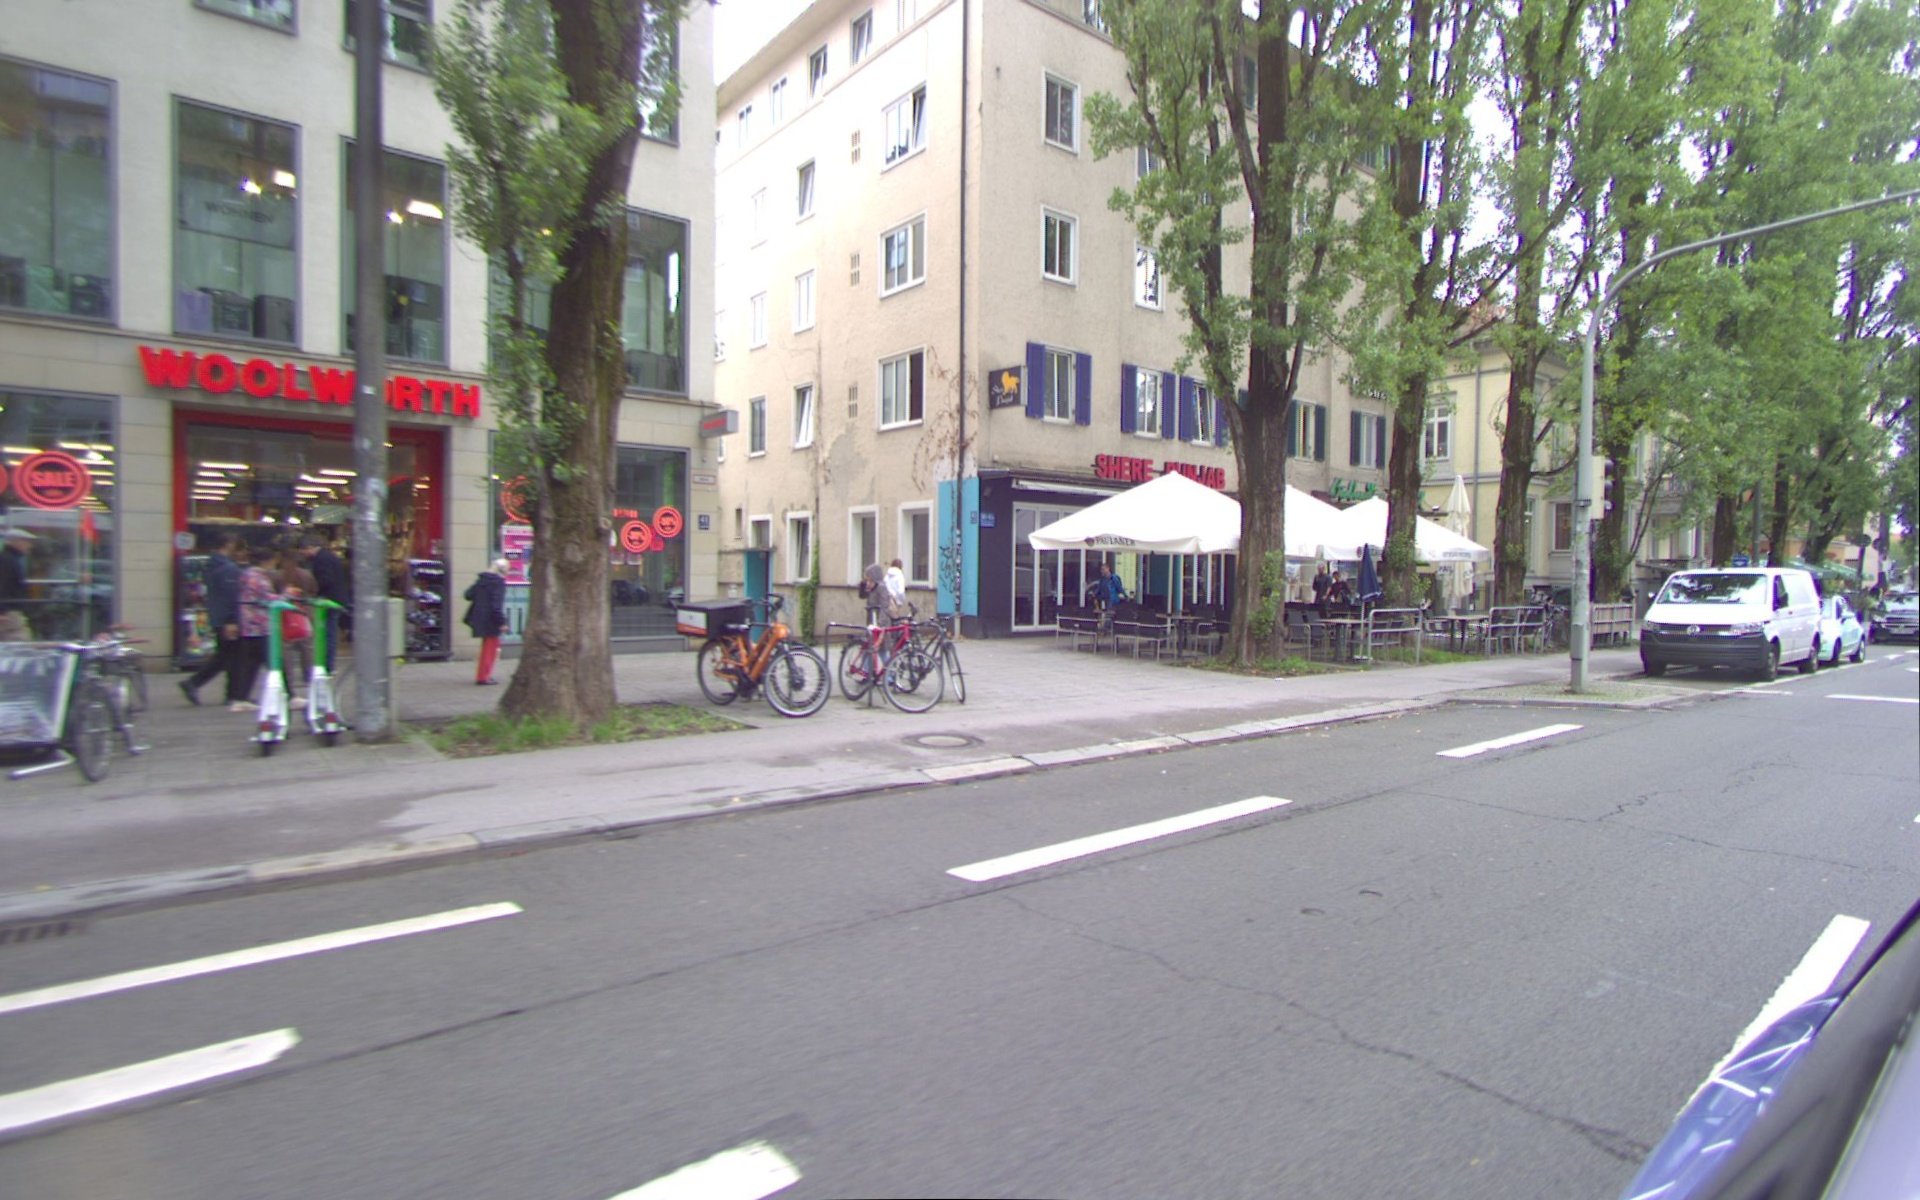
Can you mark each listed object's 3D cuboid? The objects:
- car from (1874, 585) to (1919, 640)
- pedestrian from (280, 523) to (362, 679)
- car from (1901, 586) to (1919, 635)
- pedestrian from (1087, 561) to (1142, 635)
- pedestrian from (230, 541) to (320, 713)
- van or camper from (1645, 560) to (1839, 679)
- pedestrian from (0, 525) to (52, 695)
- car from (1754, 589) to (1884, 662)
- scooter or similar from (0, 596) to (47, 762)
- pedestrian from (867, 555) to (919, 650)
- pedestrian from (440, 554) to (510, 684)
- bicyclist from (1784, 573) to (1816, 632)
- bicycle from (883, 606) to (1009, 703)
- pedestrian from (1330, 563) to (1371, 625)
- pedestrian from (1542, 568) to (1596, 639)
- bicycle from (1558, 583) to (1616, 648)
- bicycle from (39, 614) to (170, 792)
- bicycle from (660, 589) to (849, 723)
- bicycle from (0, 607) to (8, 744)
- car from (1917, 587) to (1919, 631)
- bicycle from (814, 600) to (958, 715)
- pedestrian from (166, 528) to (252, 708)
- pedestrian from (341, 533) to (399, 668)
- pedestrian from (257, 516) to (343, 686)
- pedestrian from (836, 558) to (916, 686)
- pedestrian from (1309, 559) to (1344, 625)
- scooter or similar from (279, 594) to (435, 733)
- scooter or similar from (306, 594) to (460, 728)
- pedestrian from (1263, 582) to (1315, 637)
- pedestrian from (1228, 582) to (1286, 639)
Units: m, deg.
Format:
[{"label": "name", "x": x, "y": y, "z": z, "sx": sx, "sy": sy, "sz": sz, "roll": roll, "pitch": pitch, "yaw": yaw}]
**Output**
[{"label": "car", "x": 28.463, "y": 0.346, "z": 30.000, "sx": 3.537, "sy": 1.546, "sz": 1.476, "roll": 0, "pitch": 1, "yaw": -39}, {"label": "pedestrian", "x": -8.030, "y": 0.009, "z": 12.720, "sx": 0.806, "sy": 1.877, "sz": 0.754, "roll": 0, "pitch": 0, "yaw": -38}, {"label": "car", "x": 31.559, "y": 0.325, "z": 32.486, "sx": 3.537, "sy": 1.546, "sz": 1.476, "roll": 0, "pitch": 1, "yaw": -39}, {"label": "pedestrian", "x": 3.515, "y": -0.056, "z": 22.983, "sx": 0.997, "sy": 1.624, "sz": 0.764, "roll": 0, "pitch": 0, "yaw": -39}, {"label": "pedestrian", "x": -6.919, "y": 0.256, "z": 10.221, "sx": 0.737, "sy": 1.669, "sz": 0.548, "roll": 0, "pitch": 0, "yaw": -36}, {"label": "van or camper", "x": 14.362, "y": 0.286, "z": 18.494, "sx": 4.483, "sy": 1.929, "sz": 1.795, "roll": 0, "pitch": 1, "yaw": -39}, {"label": "pedestrian", "x": -10.255, "y": 0.097, "z": 10.914, "sx": 0.630, "sy": 1.790, "sz": 0.595, "roll": 0, "pitch": 0, "yaw": -36}, {"label": "car", "x": 18.354, "y": 0.488, "z": 21.583, "sx": 3.420, "sy": 1.414, "sz": 1.476, "roll": 0, "pitch": 1, "yaw": -39}, {"label": "scooter or similar", "x": -7.105, "y": 0.583, "z": 7.115, "sx": 0.395, "sy": 1.184, "sz": 1.246, "roll": -1, "pitch": 1, "yaw": -10}, {"label": "pedestrian", "x": -1.216, "y": 0.038, "z": 18.252, "sx": 0.680, "sy": 1.685, "sz": 0.667, "roll": 0, "pitch": 0, "yaw": -40}, {"label": "pedestrian", "x": -5.952, "y": 0.215, "z": 12.414, "sx": 0.683, "sy": 1.539, "sz": 0.566, "roll": 0, "pitch": 0, "yaw": -36}, {"label": "bicyclist", "x": 24.511, "y": 0.070, "z": 29.531, "sx": 0.806, "sy": 1.699, "sz": 0.584, "roll": 0, "pitch": 1, "yaw": -42}, {"label": "bicycle", "x": -0.205, "y": 0.615, "z": 12.139, "sx": 0.494, "sy": 1.022, "sz": 1.844, "roll": 0, "pitch": 1, "yaw": -38}, {"label": "pedestrian", "x": 10.355, "y": -0.165, "z": 26.841, "sx": 0.858, "sy": 1.597, "sz": 0.696, "roll": 0, "pitch": 0, "yaw": -39}, {"label": "pedestrian", "x": 15.728, "y": 0.077, "z": 26.152, "sx": 0.820, "sy": 1.788, "sz": 0.944, "roll": 0, "pitch": 0, "yaw": -1}, {"label": "bicycle", "x": 14.614, "y": 0.330, "z": 23.649, "sx": 0.820, "sy": 1.429, "sz": 2.578, "roll": 0, "pitch": 0, "yaw": 25}, {"label": "bicycle", "x": -6.143, "y": 0.670, "z": 7.335, "sx": 0.385, "sy": 1.022, "sz": 1.848, "roll": 0, "pitch": 2, "yaw": -29}, {"label": "bicycle", "x": -2.291, "y": 0.516, "z": 10.949, "sx": 0.948, "sy": 1.230, "sz": 2.578, "roll": 0, "pitch": 1, "yaw": -38}, {"label": "bicycle", "x": -8.496, "y": 0.608, "z": 7.561, "sx": 1.967, "sy": 1.076, "sz": 0.393, "roll": 0, "pitch": 2, "yaw": -36}, {"label": "car", "x": 35.125, "y": 0.323, "z": 35.726, "sx": 3.537, "sy": 1.546, "sz": 1.476, "roll": 0, "pitch": 1, "yaw": -39}, {"label": "bicycle", "x": -0.874, "y": 0.601, "z": 11.477, "sx": 0.673, "sy": 1.141, "sz": 1.902, "roll": 0, "pitch": 1, "yaw": -38}, {"label": "pedestrian", "x": -7.671, "y": 0.170, "z": 10.355, "sx": 0.683, "sy": 1.764, "sz": 0.566, "roll": 0, "pitch": 0, "yaw": -36}, {"label": "pedestrian", "x": -8.064, "y": 0.007, "z": 13.828, "sx": 0.629, "sy": 1.790, "sz": 0.548, "roll": 0, "pitch": 0, "yaw": -35}, {"label": "pedestrian", "x": -7.674, "y": 0.000, "z": 11.757, "sx": 0.805, "sy": 1.893, "sz": 0.754, "roll": 0, "pitch": 1, "yaw": -36}, {"label": "pedestrian", "x": -1.116, "y": 0.266, "z": 13.344, "sx": 0.778, "sy": 1.608, "sz": 0.712, "roll": 0, "pitch": 2, "yaw": -33}, {"label": "pedestrian", "x": 9.918, "y": -0.221, "z": 27.366, "sx": 0.668, "sy": 1.741, "sz": 0.629, "roll": 0, "pitch": 0, "yaw": -38}, {"label": "scooter or similar", "x": -5.267, "y": 0.545, "z": 8.851, "sx": 1.221, "sy": 1.184, "sz": 0.286, "roll": -1, "pitch": 0, "yaw": 3}, {"label": "scooter or similar", "x": -5.246, "y": 0.544, "z": 9.213, "sx": 1.220, "sy": 1.184, "sz": 0.307, "roll": -1, "pitch": 0, "yaw": 0}, {"label": "pedestrian", "x": 7.526, "y": 0.209, "z": 23.155, "sx": 1.004, "sy": 1.231, "sz": 0.668, "roll": 0, "pitch": 0, "yaw": -36}, {"label": "pedestrian", "x": 6.581, "y": 0.227, "z": 22.442, "sx": 1.004, "sy": 1.231, "sz": 0.775, "roll": 0, "pitch": 0, "yaw": -36}]
